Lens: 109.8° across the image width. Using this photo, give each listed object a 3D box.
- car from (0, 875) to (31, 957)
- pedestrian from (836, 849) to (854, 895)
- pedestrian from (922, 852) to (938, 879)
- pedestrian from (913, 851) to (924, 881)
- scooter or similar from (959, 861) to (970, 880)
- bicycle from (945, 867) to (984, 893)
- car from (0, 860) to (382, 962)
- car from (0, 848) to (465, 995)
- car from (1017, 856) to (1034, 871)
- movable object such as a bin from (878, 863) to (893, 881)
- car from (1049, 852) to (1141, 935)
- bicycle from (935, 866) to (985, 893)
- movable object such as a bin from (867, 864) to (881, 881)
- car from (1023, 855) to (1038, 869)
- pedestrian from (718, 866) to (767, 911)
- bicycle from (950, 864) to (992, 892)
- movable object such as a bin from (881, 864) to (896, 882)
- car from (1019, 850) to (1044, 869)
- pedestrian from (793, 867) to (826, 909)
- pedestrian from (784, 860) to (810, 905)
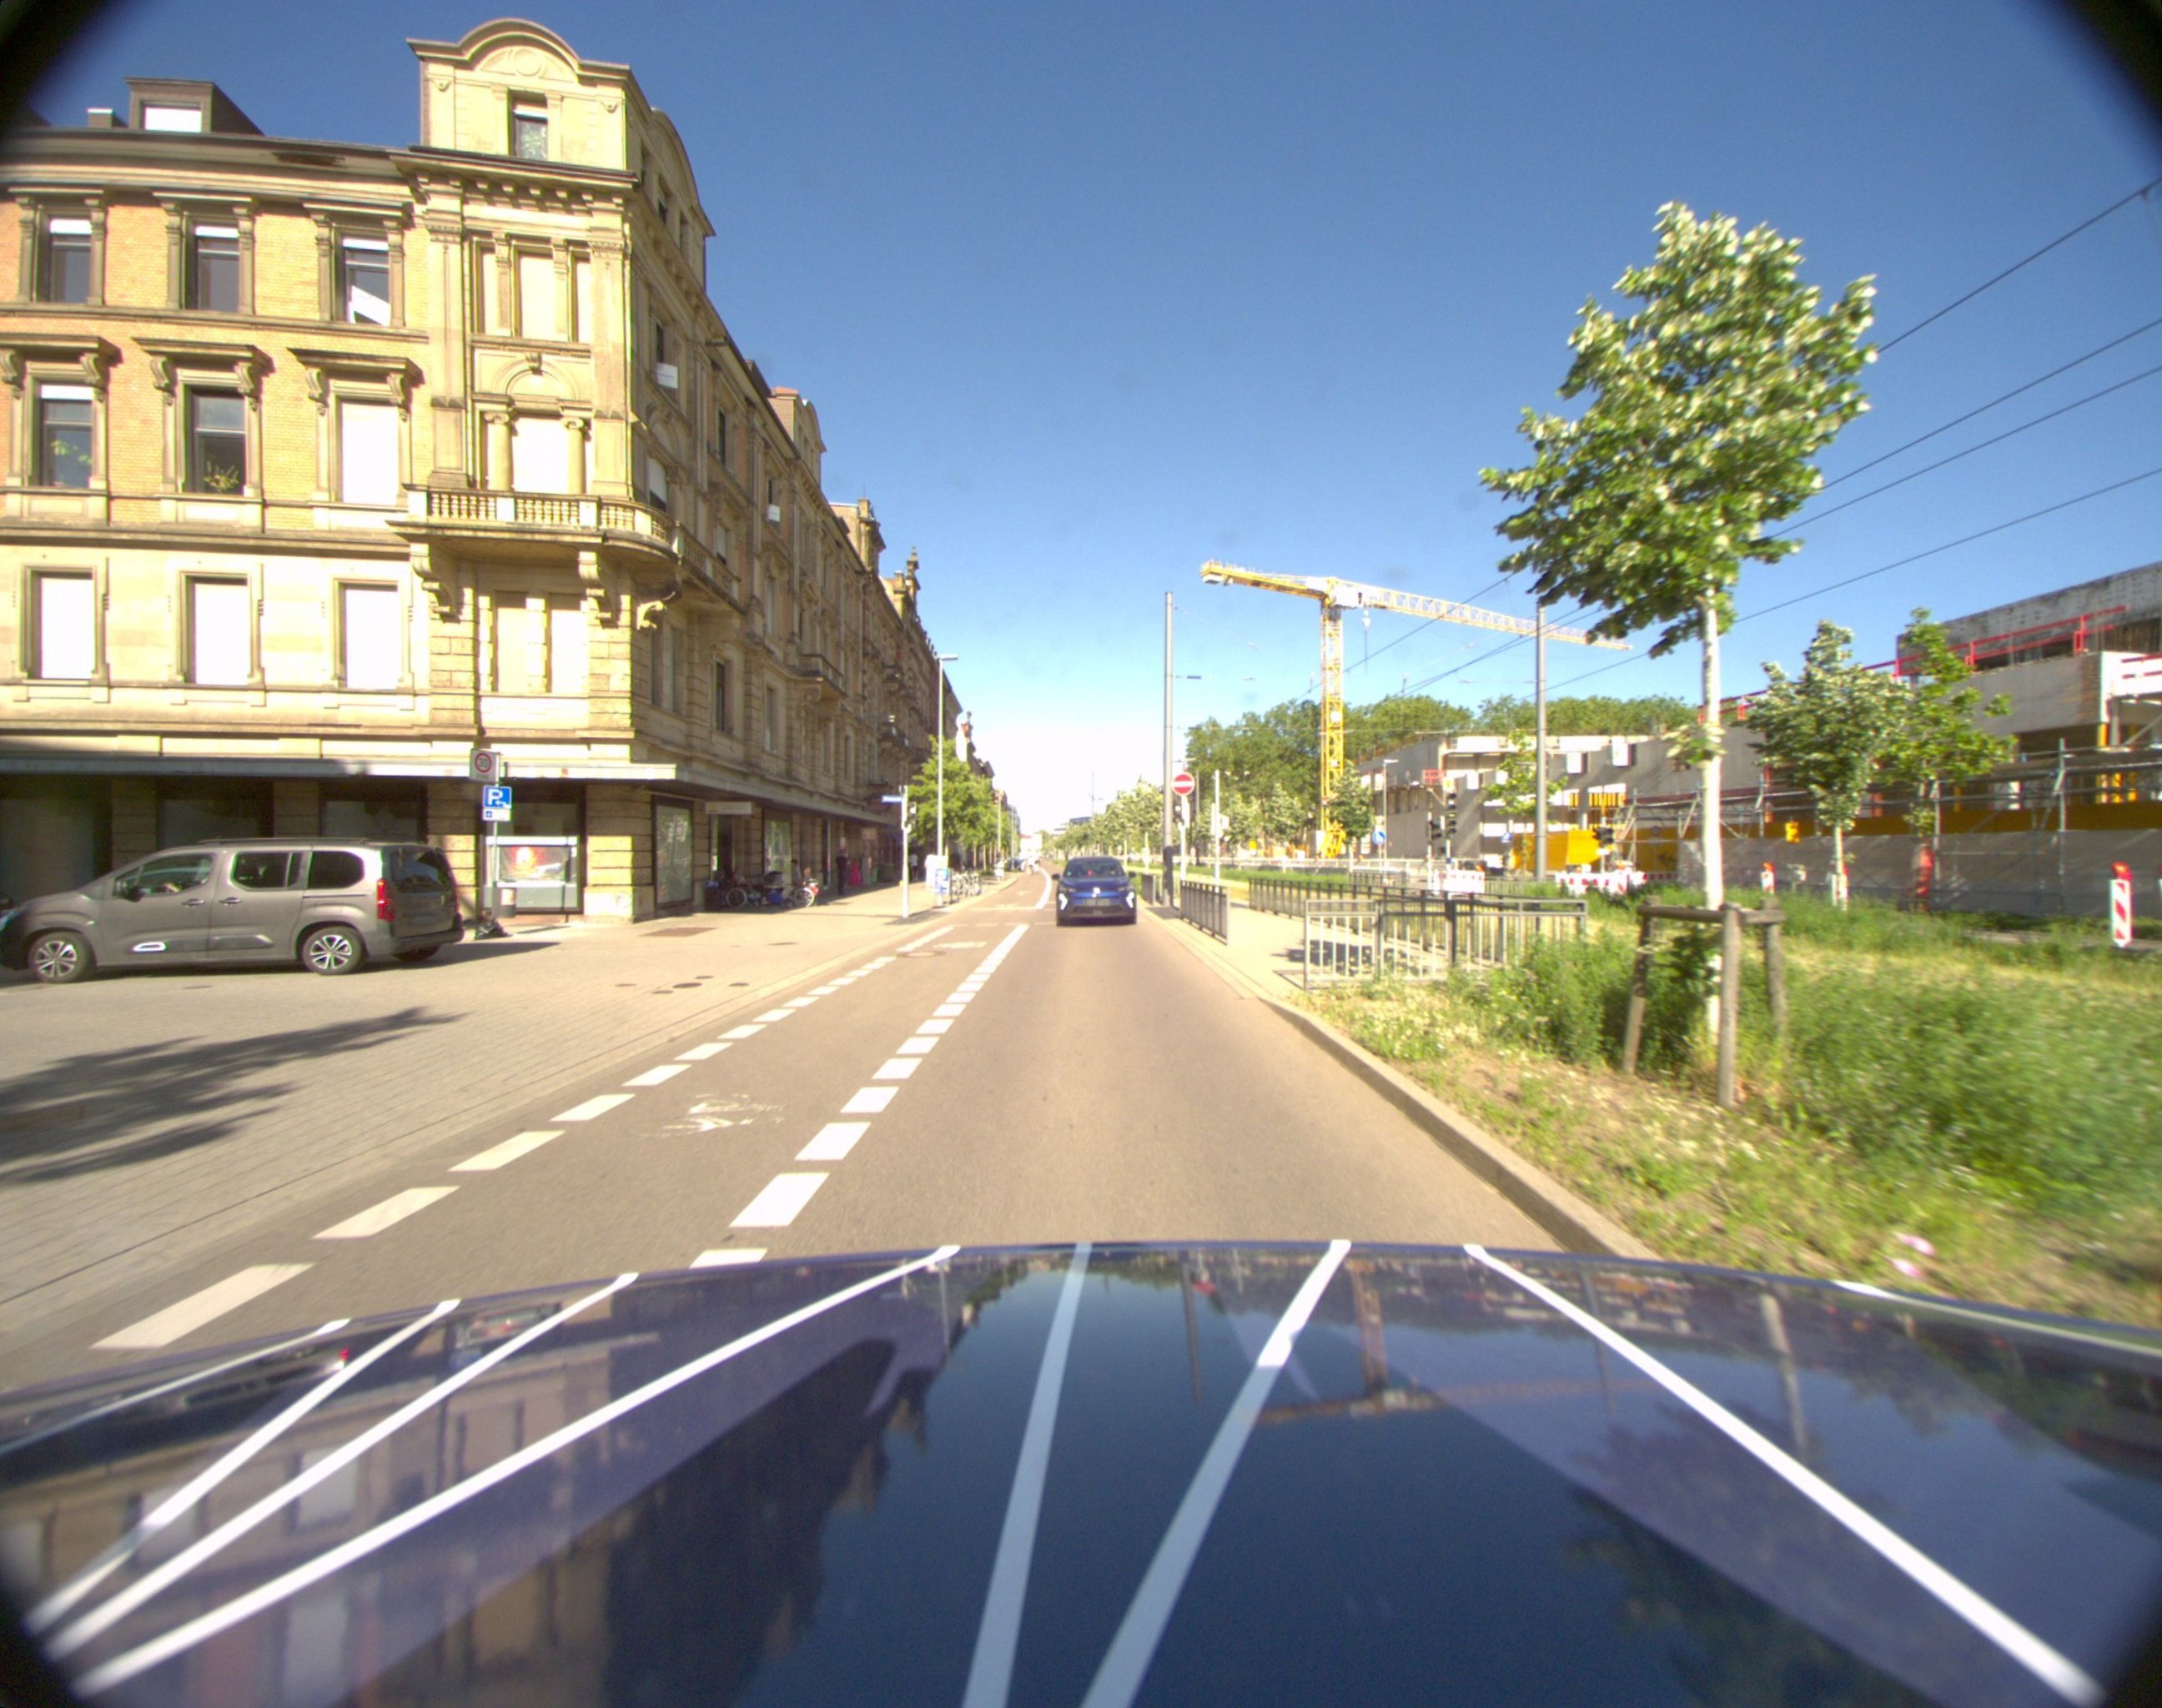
[{"bbox_3d":[-20.267,1.060,12.134,4.192,1.386,1.556,0,-1,-10],"label":"car"},{"bbox_3d":[-9.156,0.692,29.472,0.512,1.791,0.501,-1,0,6],"label":"pedestrian"},{"bbox_3d":[-9.168,0.703,46.089,0.753,1.575,0.808,2,0,-2],"label":"pedestrian"},{"bbox_3d":[-10.183,0.741,47.497,0.512,1.839,0.501,-1,0,6],"label":"pedestrian"},{"bbox_3d":[-7.474,1.050,48.719,0.637,1.166,0.290,0,1,20],"label":"scooter or similar"},{"bbox_3d":[-5.221,1.162,34.122,1.668,1.104,0.602,2,1,-10],"label":"bicycle"},{"bbox_3d":[-15.168,0.890,12.988,4.409,1.535,1.851,0,0,-10],"label":"car"},{"bbox_3d":[-11.294,0.798,10.312,4.168,1.742,1.815,0,0,-12],"label":"car"},{"bbox_3d":[-6.280,1.034,86.519,1.670,1.574,3.748,-2,1,-2],"label":"car"},{"bbox_3d":[-11.076,1.008,43.033,0.692,1.007,0.587,1,1,3],"label":"movable object such as a bin"},{"bbox_3d":[0.433,0.789,17.021,1.748,1.613,4.154,-1,0,5],"label":"car"},{"bbox_3d":[-5.219,1.099,32.766,2.055,1.113,0.603,1,1,-2],"label":"bicycle"},{"bbox_3d":[-11.059,0.999,40.564,0.606,0.861,0.476,1,1,3],"label":"movable object such as a bin"},{"bbox_3d":[-6.132,0.960,92.368,1.670,1.453,3.748,-2,1,-2],"label":"car"},{"bbox_3d":[-9.727,0.984,21.839,1.075,1.211,0.702,2,1,-2],"label":"pedestrian"},{"bbox_3d":[-5.161,1.135,35.800,1.869,1.244,0.691,2,1,-3],"label":"bicycle"},{"bbox_3d":[-11.054,1.082,43.664,0.692,0.969,0.587,-1,1,3],"label":"movable object such as a bin"},{"bbox_3d":[-5.002,0.540,77.304,1.821,1.783,4.001,-2,1,7],"label":"car"},{"bbox_3d":[-8.309,1.034,23.237,0.718,1.211,0.647,2,1,4],"label":"pedestrian"},{"bbox_3d":[-8.963,0.890,23.972,0.574,1.386,0.648,2,1,-3],"label":"pedestrian"}]
